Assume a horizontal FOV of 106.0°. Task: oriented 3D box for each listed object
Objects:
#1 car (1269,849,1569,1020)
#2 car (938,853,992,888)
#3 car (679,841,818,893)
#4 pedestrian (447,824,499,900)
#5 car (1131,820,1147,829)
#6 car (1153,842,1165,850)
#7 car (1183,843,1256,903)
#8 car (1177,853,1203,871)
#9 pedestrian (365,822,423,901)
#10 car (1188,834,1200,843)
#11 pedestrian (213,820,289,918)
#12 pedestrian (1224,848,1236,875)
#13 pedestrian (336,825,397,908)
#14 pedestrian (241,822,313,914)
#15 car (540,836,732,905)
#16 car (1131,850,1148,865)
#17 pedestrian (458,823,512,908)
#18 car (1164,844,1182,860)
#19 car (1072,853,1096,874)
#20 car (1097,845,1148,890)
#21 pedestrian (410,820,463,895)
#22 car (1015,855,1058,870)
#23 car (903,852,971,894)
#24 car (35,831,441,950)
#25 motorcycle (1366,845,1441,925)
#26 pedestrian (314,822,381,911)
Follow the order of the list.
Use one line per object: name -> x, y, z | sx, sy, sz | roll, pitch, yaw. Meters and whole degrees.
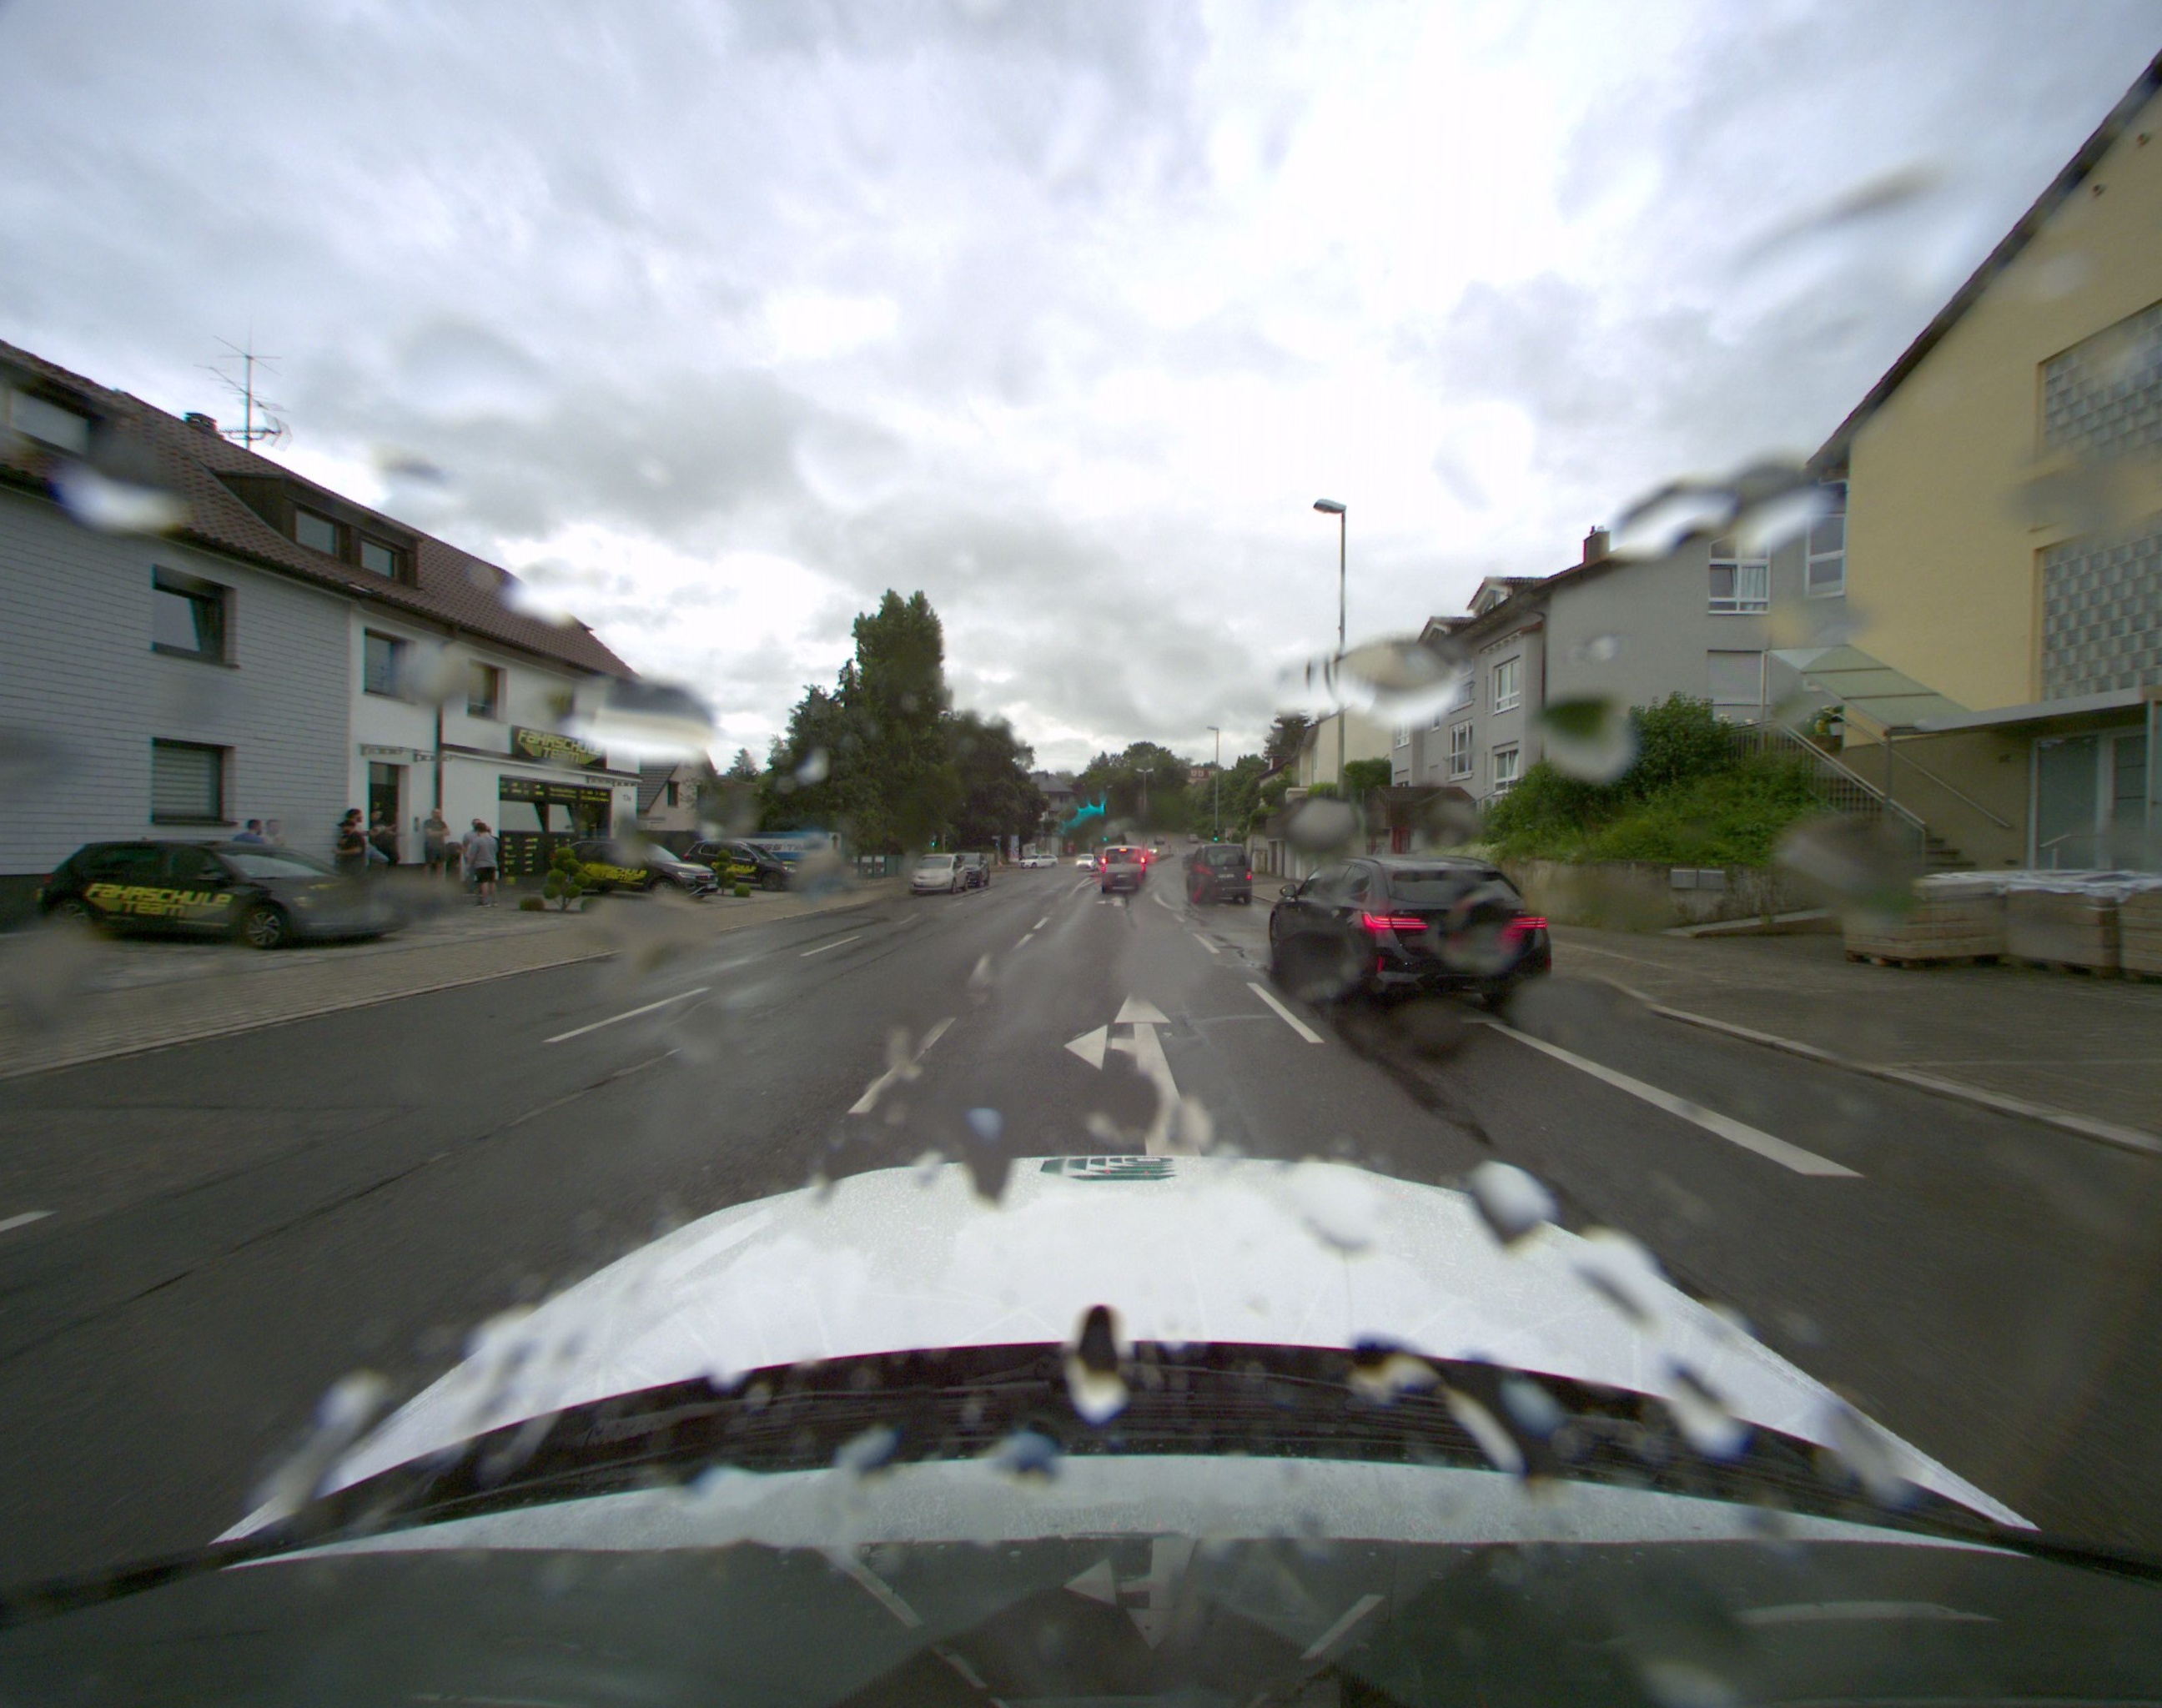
car -> 3.423, 0.711, 9.161 | 1.984, 1.484, 4.005 | 0, 0, 4
car -> -5.588, 0.763, 39.629 | 1.877, 1.585, 4.002 | 0, 0, 2
car -> -11.761, 0.460, 28.969 | 4.057, 1.516, 1.856 | 4, 0, 1
pedestrian -> -13.848, 0.173, 18.562 | 0.597, 1.665, 0.652 | 3, 0, 10
car -> 13.648, -6.936, 192.135 | 2.520, 2.013, 5.594 | 0, 3, -8
car -> 14.340, -1.472, 150.289 | 1.986, 1.585, 4.002 | 0, 0, 2
car -> 4.361, 0.578, 26.226 | 1.831, 1.767, 4.002 | 0, 0, 2
car -> 9.892, 0.737, 73.989 | 1.986, 1.578, 4.002 | -1, 0, 2
pedestrian -> -14.991, 0.161, 17.780 | 0.597, 1.665, 0.651 | 3, 0, 7
car -> 21.130, -2.934, 152.441 | 1.986, 1.585, 4.002 | 0, 0, 2
pedestrian -> -14.634, 0.254, 14.371 | 0.597, 1.665, 0.651 | 3, 0, 7
pedestrian -> 11.510, 0.568, 63.095 | 0.868, 2.013, 0.881 | -1, 0, 10
pedestrian -> -14.903, 0.261, 16.999 | 0.597, 1.665, 0.651 | 3, 0, 7
pedestrian -> -15.030, 0.255, 15.237 | 0.597, 1.665, 0.651 | 3, 0, 7
car -> -11.931, 0.430, 22.034 | 4.057, 1.516, 1.856 | 4, 0, 1
car -> 7.188, 0.462, 101.149 | 1.986, 1.772, 4.002 | -1, 0, 2
pedestrian -> -12.969, 0.244, 17.738 | 0.599, 1.790, 0.649 | 3, 0, -3
car -> 13.268, -0.248, 117.753 | 2.509, 2.013, 5.619 | 1, 3, 6
car -> 0.283, 0.842, 71.574 | 1.986, 1.772, 4.002 | 0, 0, 2
car -> 1.692, 0.534, 33.544 | 1.985, 1.737, 4.002 | 0, 0, 2
pedestrian -> -14.831, 0.071, 18.757 | 0.597, 1.665, 0.651 | 3, 0, 7
car -> -4.611, 0.854, 84.602 | 1.974, 1.547, 4.423 | 0, 0, 40
car -> -5.780, 0.741, 33.111 | 1.877, 1.585, 4.002 | 0, 0, 2
car -> -12.267, 0.496, 12.064 | 4.057, 1.516, 1.856 | 1, 0, 1
motorcycle -> 6.541, 0.594, 16.642 | 0.700, 1.509, 2.152 | -2, 0, 2
pedestrian -> -14.173, 0.234, 15.753 | 0.597, 1.665, 0.651 | 3, 0, 7
